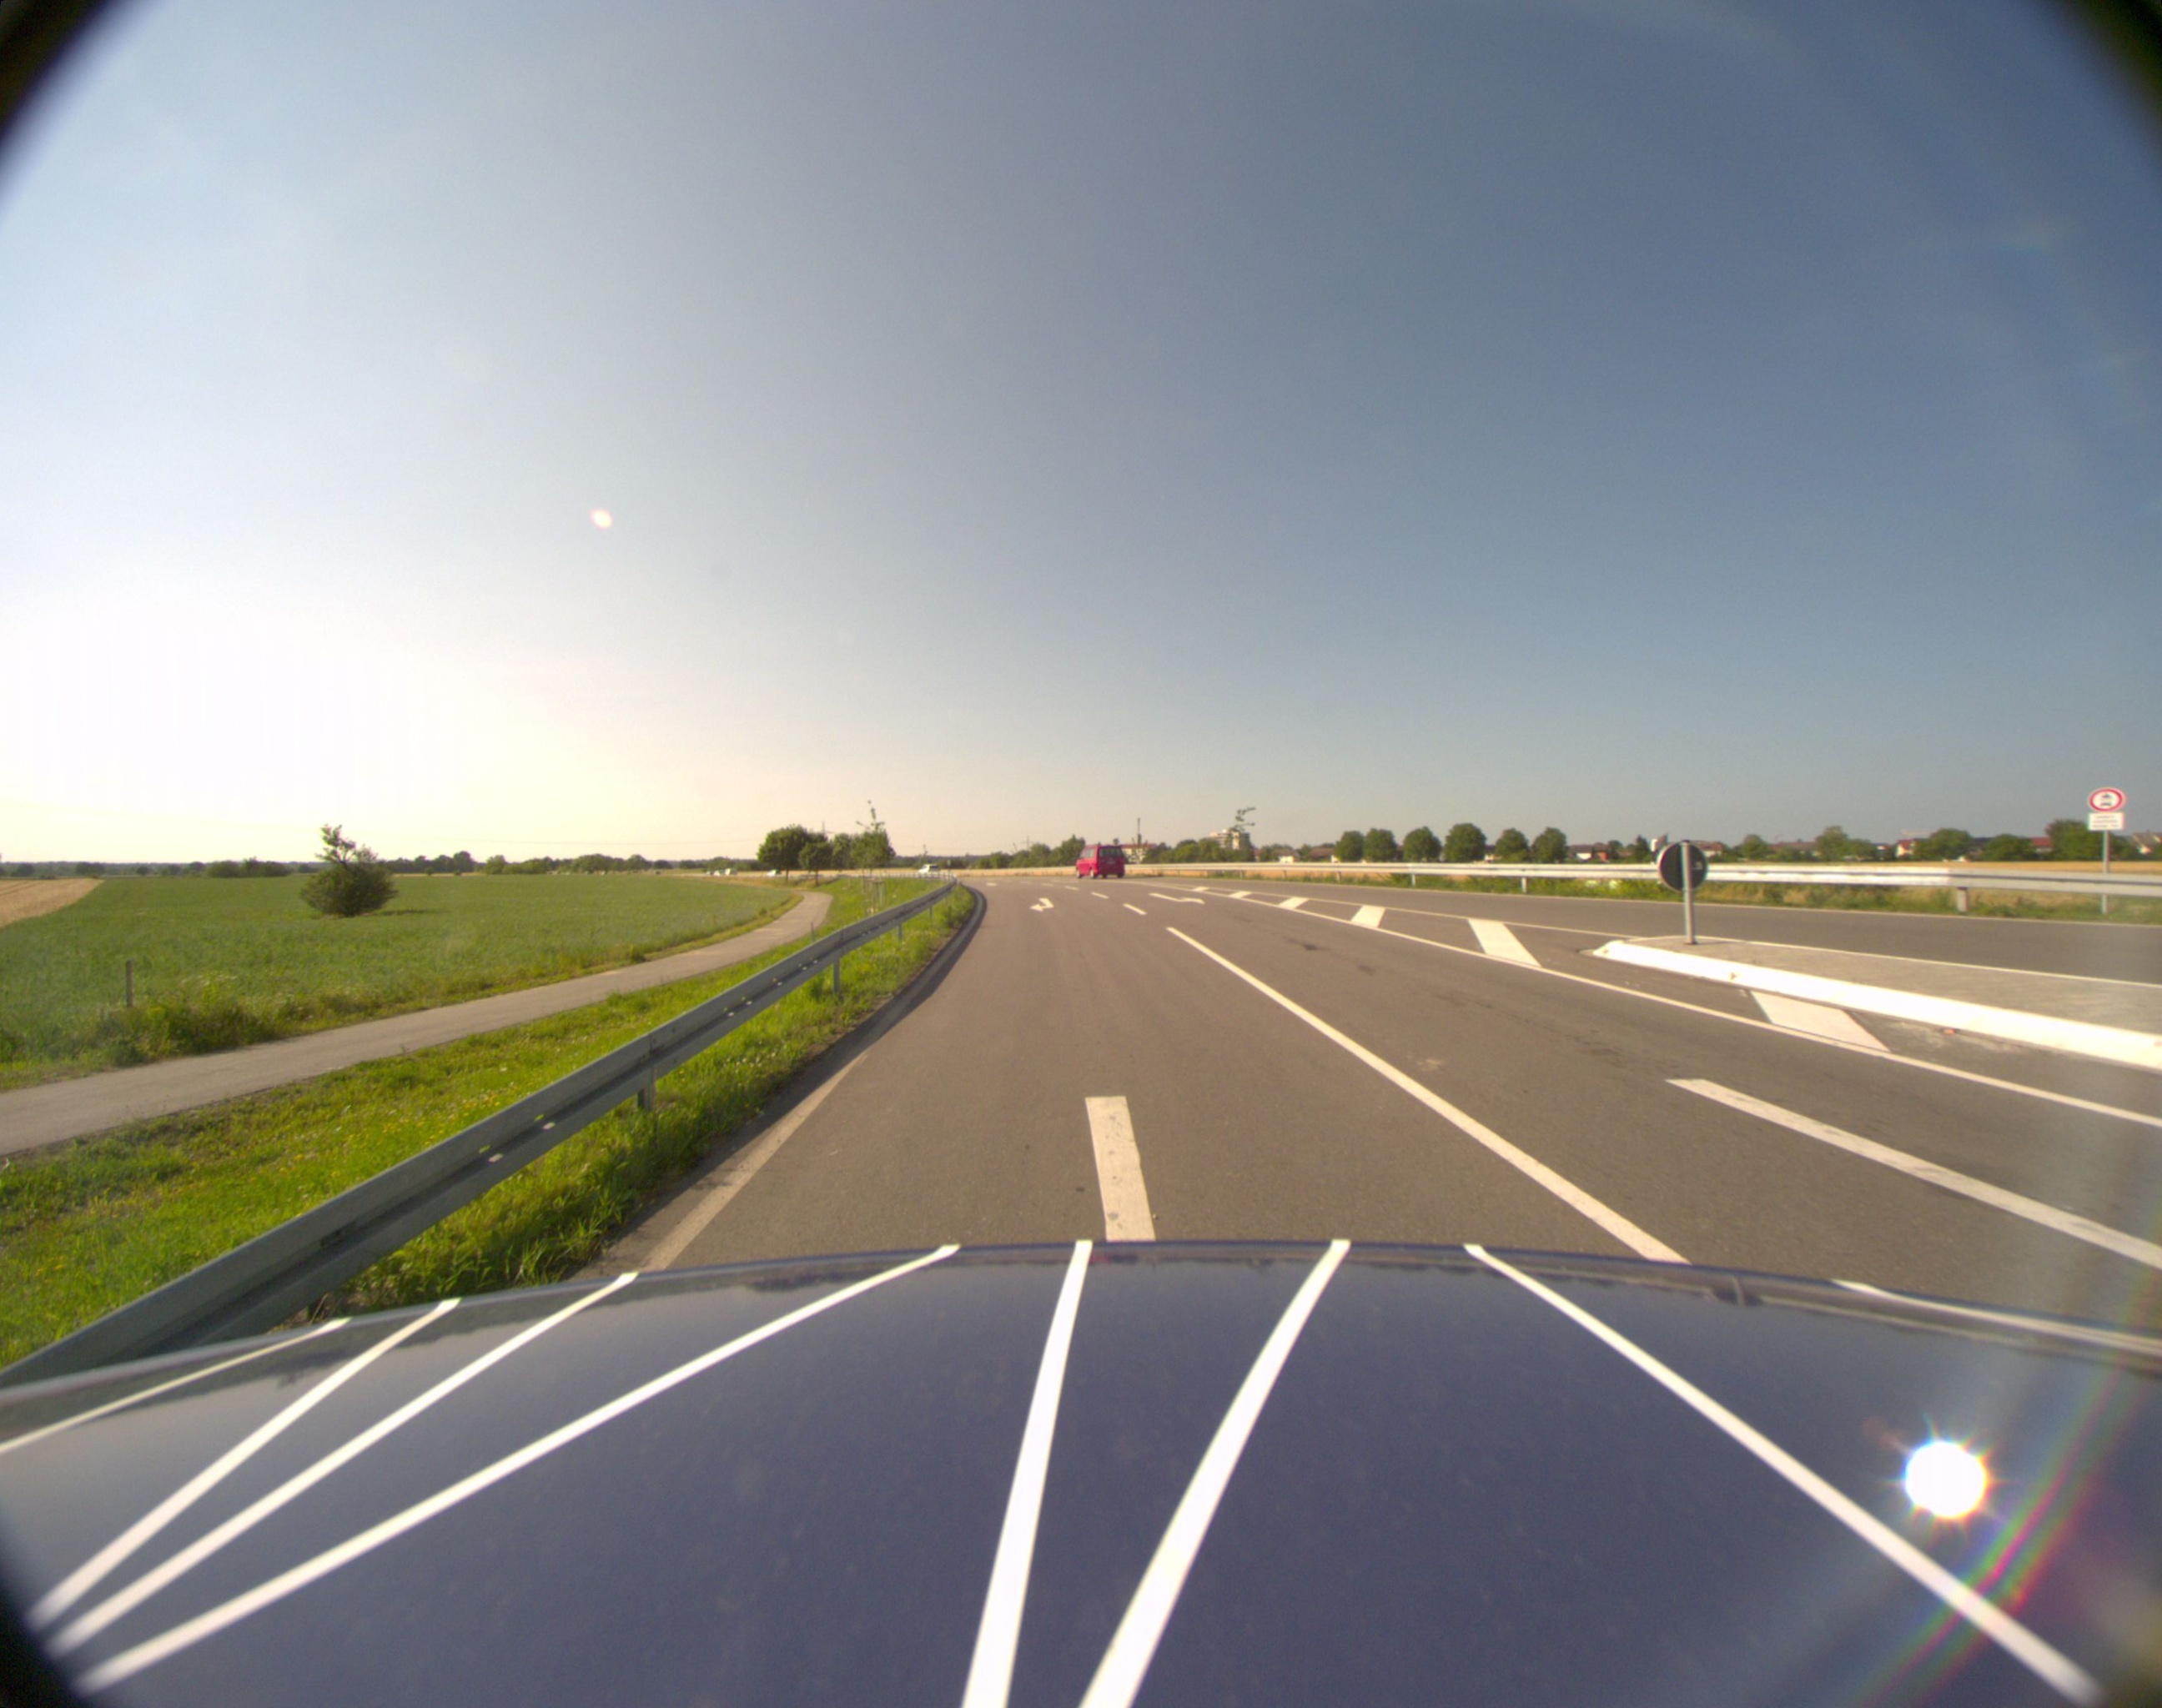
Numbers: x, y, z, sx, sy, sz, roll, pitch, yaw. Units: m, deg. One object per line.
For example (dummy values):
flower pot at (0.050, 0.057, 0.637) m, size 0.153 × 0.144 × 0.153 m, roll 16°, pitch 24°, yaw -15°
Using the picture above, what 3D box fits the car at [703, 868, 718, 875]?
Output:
car at (-92.647, 4.488, 189.934) m, size 4.694 × 1.439 × 1.804 m, roll -5°, pitch -3°, yaw 44°

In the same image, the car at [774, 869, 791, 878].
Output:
car at (-61.357, 3.961, 156.102) m, size 2.125 × 1.484 × 5.142 m, roll -2°, pitch -2°, yaw -35°

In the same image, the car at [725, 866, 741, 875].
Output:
car at (-81.690, 3.891, 178.338) m, size 2.126 × 2.001 × 5.142 m, roll -2°, pitch -2°, yaw -39°

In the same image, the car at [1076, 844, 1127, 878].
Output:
car at (1.182, 0.451, 46.201) m, size 1.840 × 1.929 × 4.921 m, roll -1°, pitch -1°, yaw -13°

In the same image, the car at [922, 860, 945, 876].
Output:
car at (-18.653, 1.784, 95.814) m, size 1.699 × 1.664 × 4.851 m, roll -2°, pitch 4°, yaw -25°
